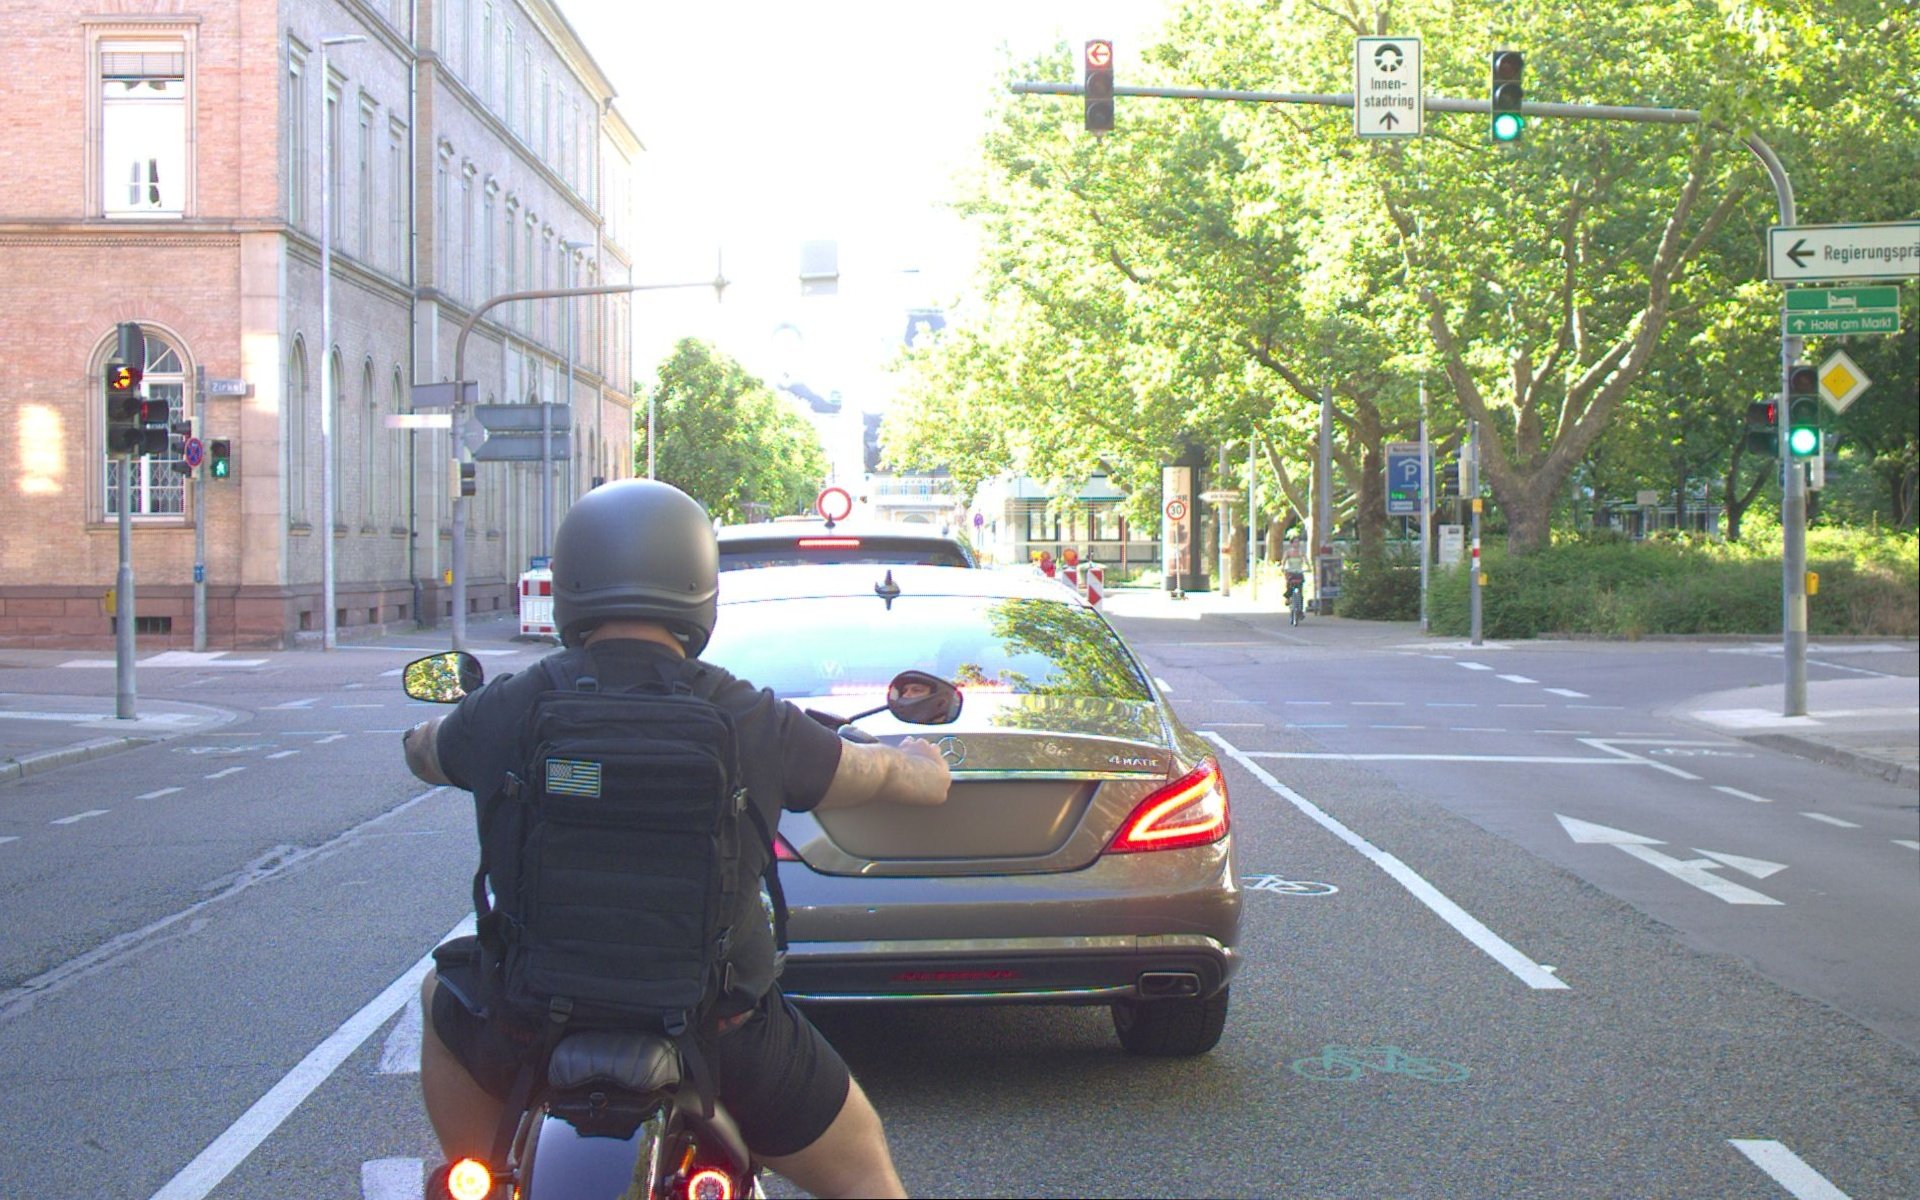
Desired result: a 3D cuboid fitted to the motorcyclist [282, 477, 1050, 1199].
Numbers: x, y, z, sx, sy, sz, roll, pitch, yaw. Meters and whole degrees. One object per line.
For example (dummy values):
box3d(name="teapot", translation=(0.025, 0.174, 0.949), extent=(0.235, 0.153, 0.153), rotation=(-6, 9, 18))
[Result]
box3d(name="motorcyclist", translation=(-0.420, 0.619, 5.267), extent=(1.061, 1.577, 0.908), rotation=(1, 0, -1))

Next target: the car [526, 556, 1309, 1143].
box3d(name="car", translation=(-0.359, 0.592, 10.810), extent=(1.901, 1.436, 4.290), rotation=(0, 1, -8))

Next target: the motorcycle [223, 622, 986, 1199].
box3d(name="motorcycle", translation=(-0.470, 0.738, 5.538), extent=(0.962, 1.352, 2.320), rotation=(1, 1, -1))

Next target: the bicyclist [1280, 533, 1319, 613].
box3d(name="bicyclist", translation=(6.781, -0.532, 68.668), extent=(0.716, 1.577, 0.936), rotation=(1, 0, 4))

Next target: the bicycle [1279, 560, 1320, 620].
box3d(name="bicycle", translation=(6.783, -0.214, 68.767), extent=(0.716, 1.168, 2.176), rotation=(1, 1, 3))

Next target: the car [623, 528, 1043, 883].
box3d(name="car", translation=(-0.651, 0.418, 16.769), extent=(1.813, 1.530, 3.849), rotation=(0, 1, -3))
